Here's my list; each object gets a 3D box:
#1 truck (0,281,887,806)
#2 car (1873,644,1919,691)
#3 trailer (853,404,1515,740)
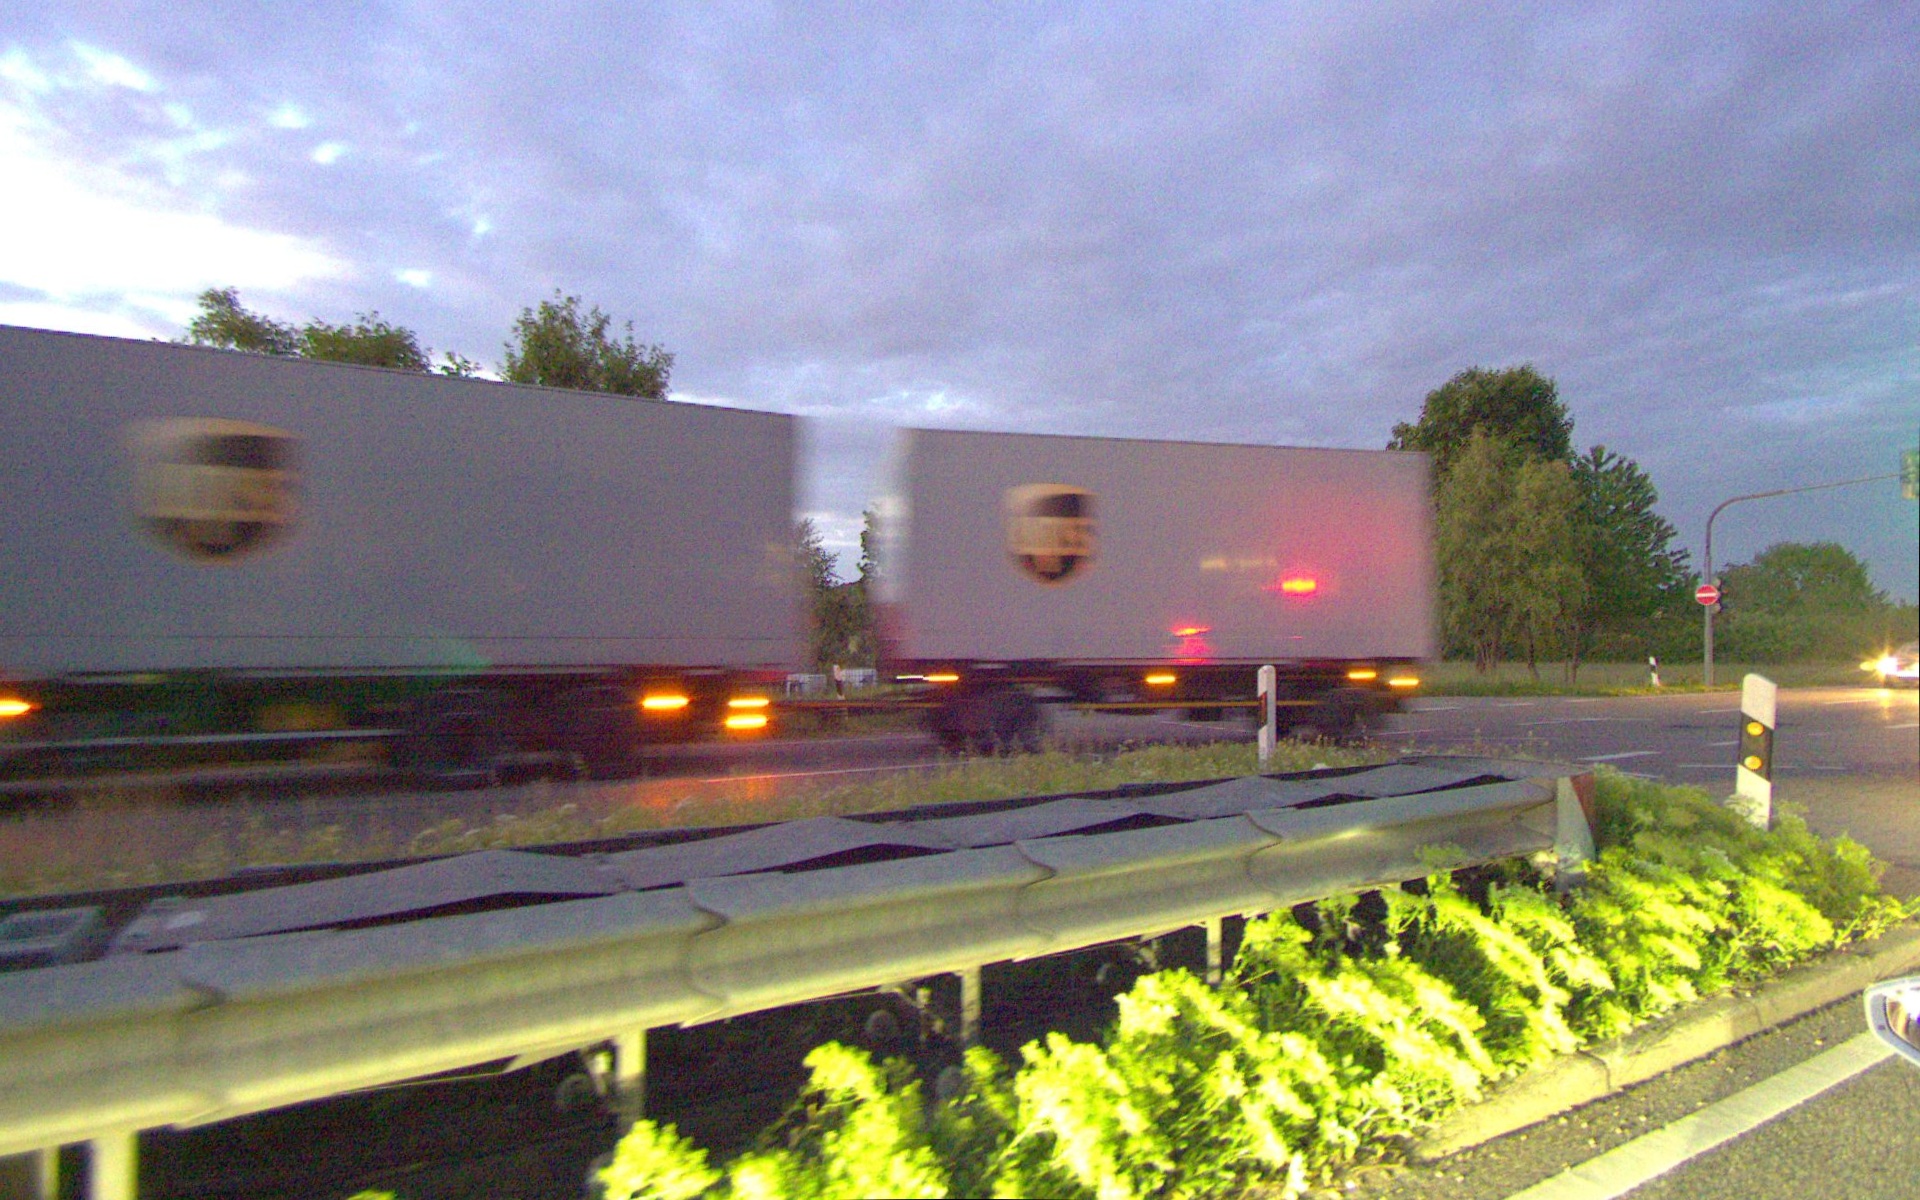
[{"bbox_3d":[-6.006,-0.354,10.406,10.217,4.171,2.715,2,-1,-28],"label":"truck"},{"bbox_3d":[30.976,2.154,32.039,3.983,1.403,1.644,2,0,-31],"label":"car"},{"bbox_3d":[2.987,-0.252,14.025,8.719,3.995,2.580,1,-2,-11],"label":"trailer"}]
